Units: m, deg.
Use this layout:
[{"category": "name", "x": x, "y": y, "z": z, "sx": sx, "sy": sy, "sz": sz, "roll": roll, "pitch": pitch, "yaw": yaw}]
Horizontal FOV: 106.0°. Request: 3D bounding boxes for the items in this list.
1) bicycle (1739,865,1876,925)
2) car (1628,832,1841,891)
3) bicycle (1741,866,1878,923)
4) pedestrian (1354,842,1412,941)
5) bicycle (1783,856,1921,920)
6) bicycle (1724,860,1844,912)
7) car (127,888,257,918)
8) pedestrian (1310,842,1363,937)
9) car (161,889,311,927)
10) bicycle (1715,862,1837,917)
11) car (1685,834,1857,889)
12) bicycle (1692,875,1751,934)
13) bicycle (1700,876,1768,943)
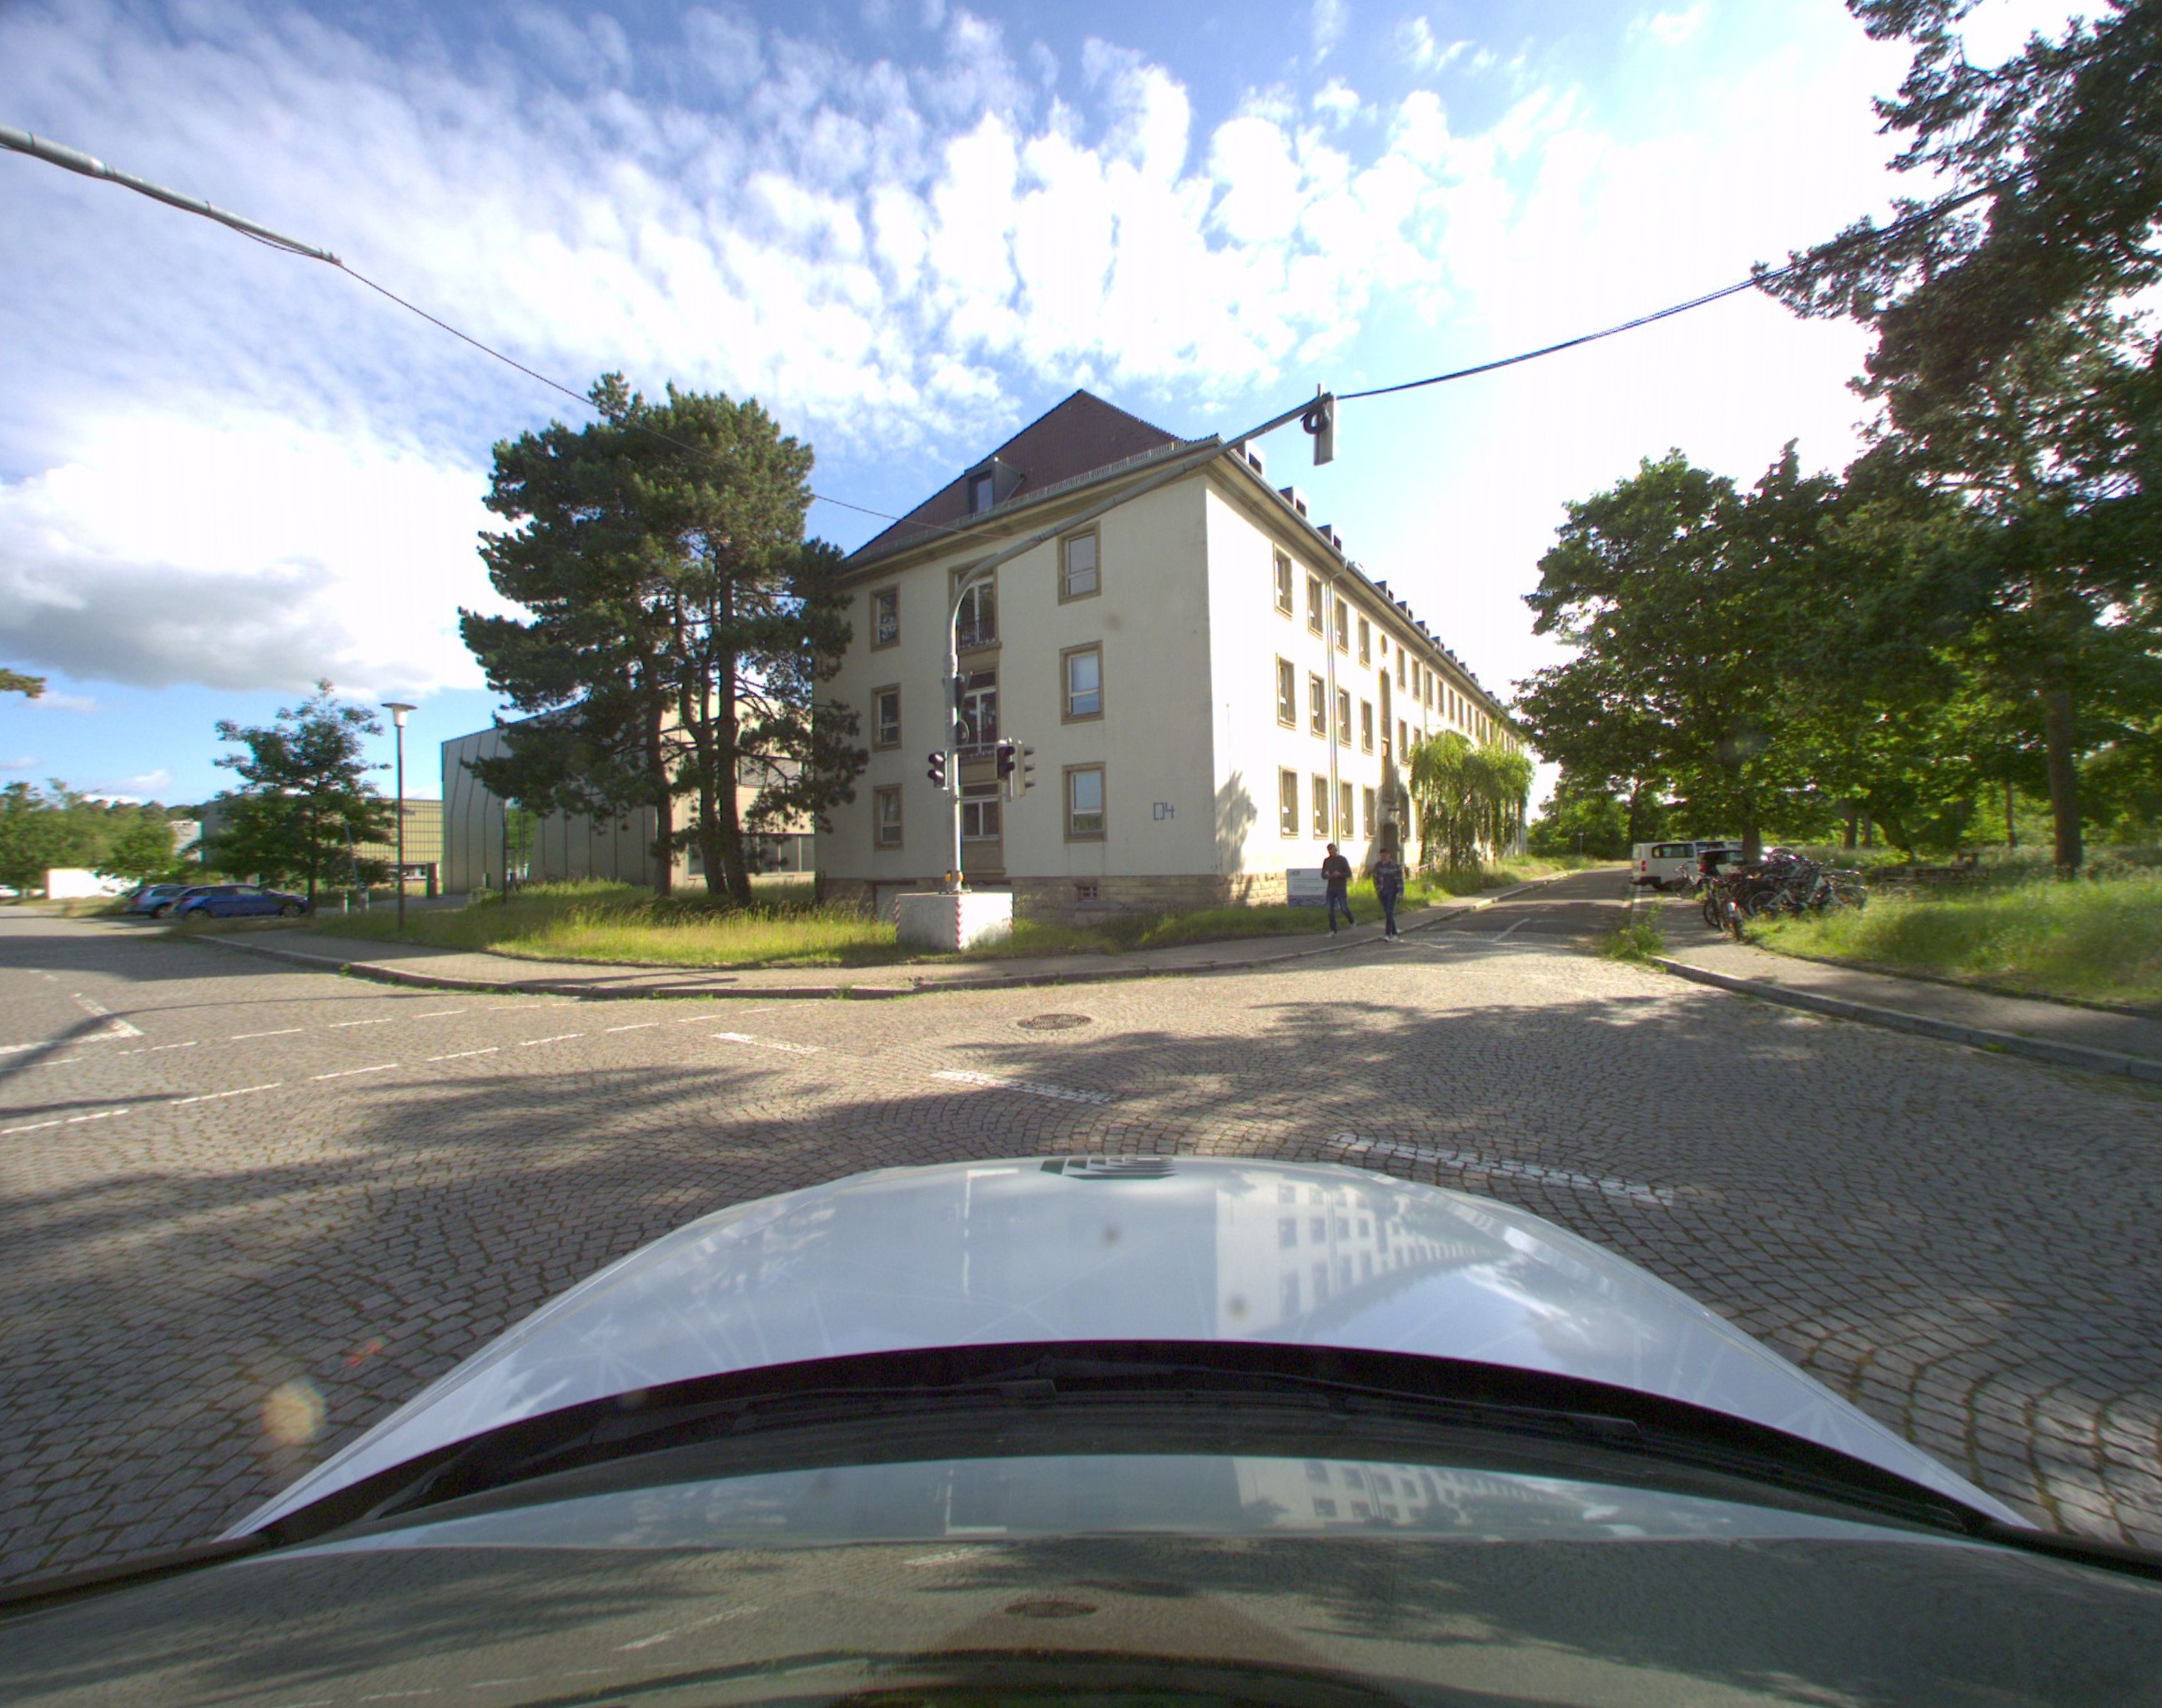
[{"category": "bicycle", "x": 14.448, "y": 0.807, "z": 16.269, "sx": 1.922, "sy": 1.129, "sz": 0.755, "roll": -1, "pitch": -1, "yaw": 32}, {"category": "car", "x": 24.264, "y": 0.321, "z": 30.634, "sx": 5.874, "sy": 2.014, "sz": 2.490, "roll": -1, "pitch": -1, "yaw": 28}, {"category": "bicycle", "x": 13.935, "y": 0.768, "z": 15.645, "sx": 1.836, "sy": 1.031, "sz": 0.755, "roll": -1, "pitch": -1, "yaw": 32}, {"category": "pedestrian", "x": 5.695, "y": 0.687, "z": 15.378, "sx": 0.686, "sy": 1.817, "sz": 0.760, "roll": -1, "pitch": -1, "yaw": -44}, {"category": "bicycle", "x": 15.468, "y": 0.676, "z": 16.400, "sx": 1.922, "sy": 1.235, "sz": 0.488, "roll": -2, "pitch": -1, "yaw": 32}, {"category": "bicycle", "x": 15.694, "y": 0.709, "z": 18.236, "sx": 1.922, "sy": 1.129, "sz": 0.652, "roll": -1, "pitch": -1, "yaw": 30}, {"category": "car", "x": -41.637, "y": 2.260, "z": 38.231, "sx": 1.472, "sy": 1.205, "sz": 4.025, "roll": -2, "pitch": -1, "yaw": 38}, {"category": "pedestrian", "x": 5.069, "y": 0.685, "z": 16.156, "sx": 0.558, "sy": 1.817, "sz": 0.804, "roll": -1, "pitch": -1, "yaw": -44}, {"category": "car", "x": -34.050, "y": 2.131, "z": 32.919, "sx": 1.472, "sy": 1.294, "sz": 4.076, "roll": -2, "pitch": -1, "yaw": 38}, {"category": "bicycle", "x": 14.860, "y": 0.763, "z": 17.457, "sx": 1.929, "sy": 1.129, "sz": 0.649, "roll": -1, "pitch": -1, "yaw": 8}, {"category": "car", "x": 22.405, "y": 0.262, "z": 26.665, "sx": 3.949, "sy": 1.684, "sz": 1.858, "roll": -1, "pitch": -1, "yaw": 27}, {"category": "bicycle", "x": 11.909, "y": 0.909, "z": 15.192, "sx": 0.689, "sy": 0.971, "sz": 1.872, "roll": -1, "pitch": 0, "yaw": 33}, {"category": "bicycle", "x": 10.827, "y": 0.883, "z": 13.544, "sx": 0.689, "sy": 0.971, "sz": 1.872, "roll": -1, "pitch": 0, "yaw": 33}]
